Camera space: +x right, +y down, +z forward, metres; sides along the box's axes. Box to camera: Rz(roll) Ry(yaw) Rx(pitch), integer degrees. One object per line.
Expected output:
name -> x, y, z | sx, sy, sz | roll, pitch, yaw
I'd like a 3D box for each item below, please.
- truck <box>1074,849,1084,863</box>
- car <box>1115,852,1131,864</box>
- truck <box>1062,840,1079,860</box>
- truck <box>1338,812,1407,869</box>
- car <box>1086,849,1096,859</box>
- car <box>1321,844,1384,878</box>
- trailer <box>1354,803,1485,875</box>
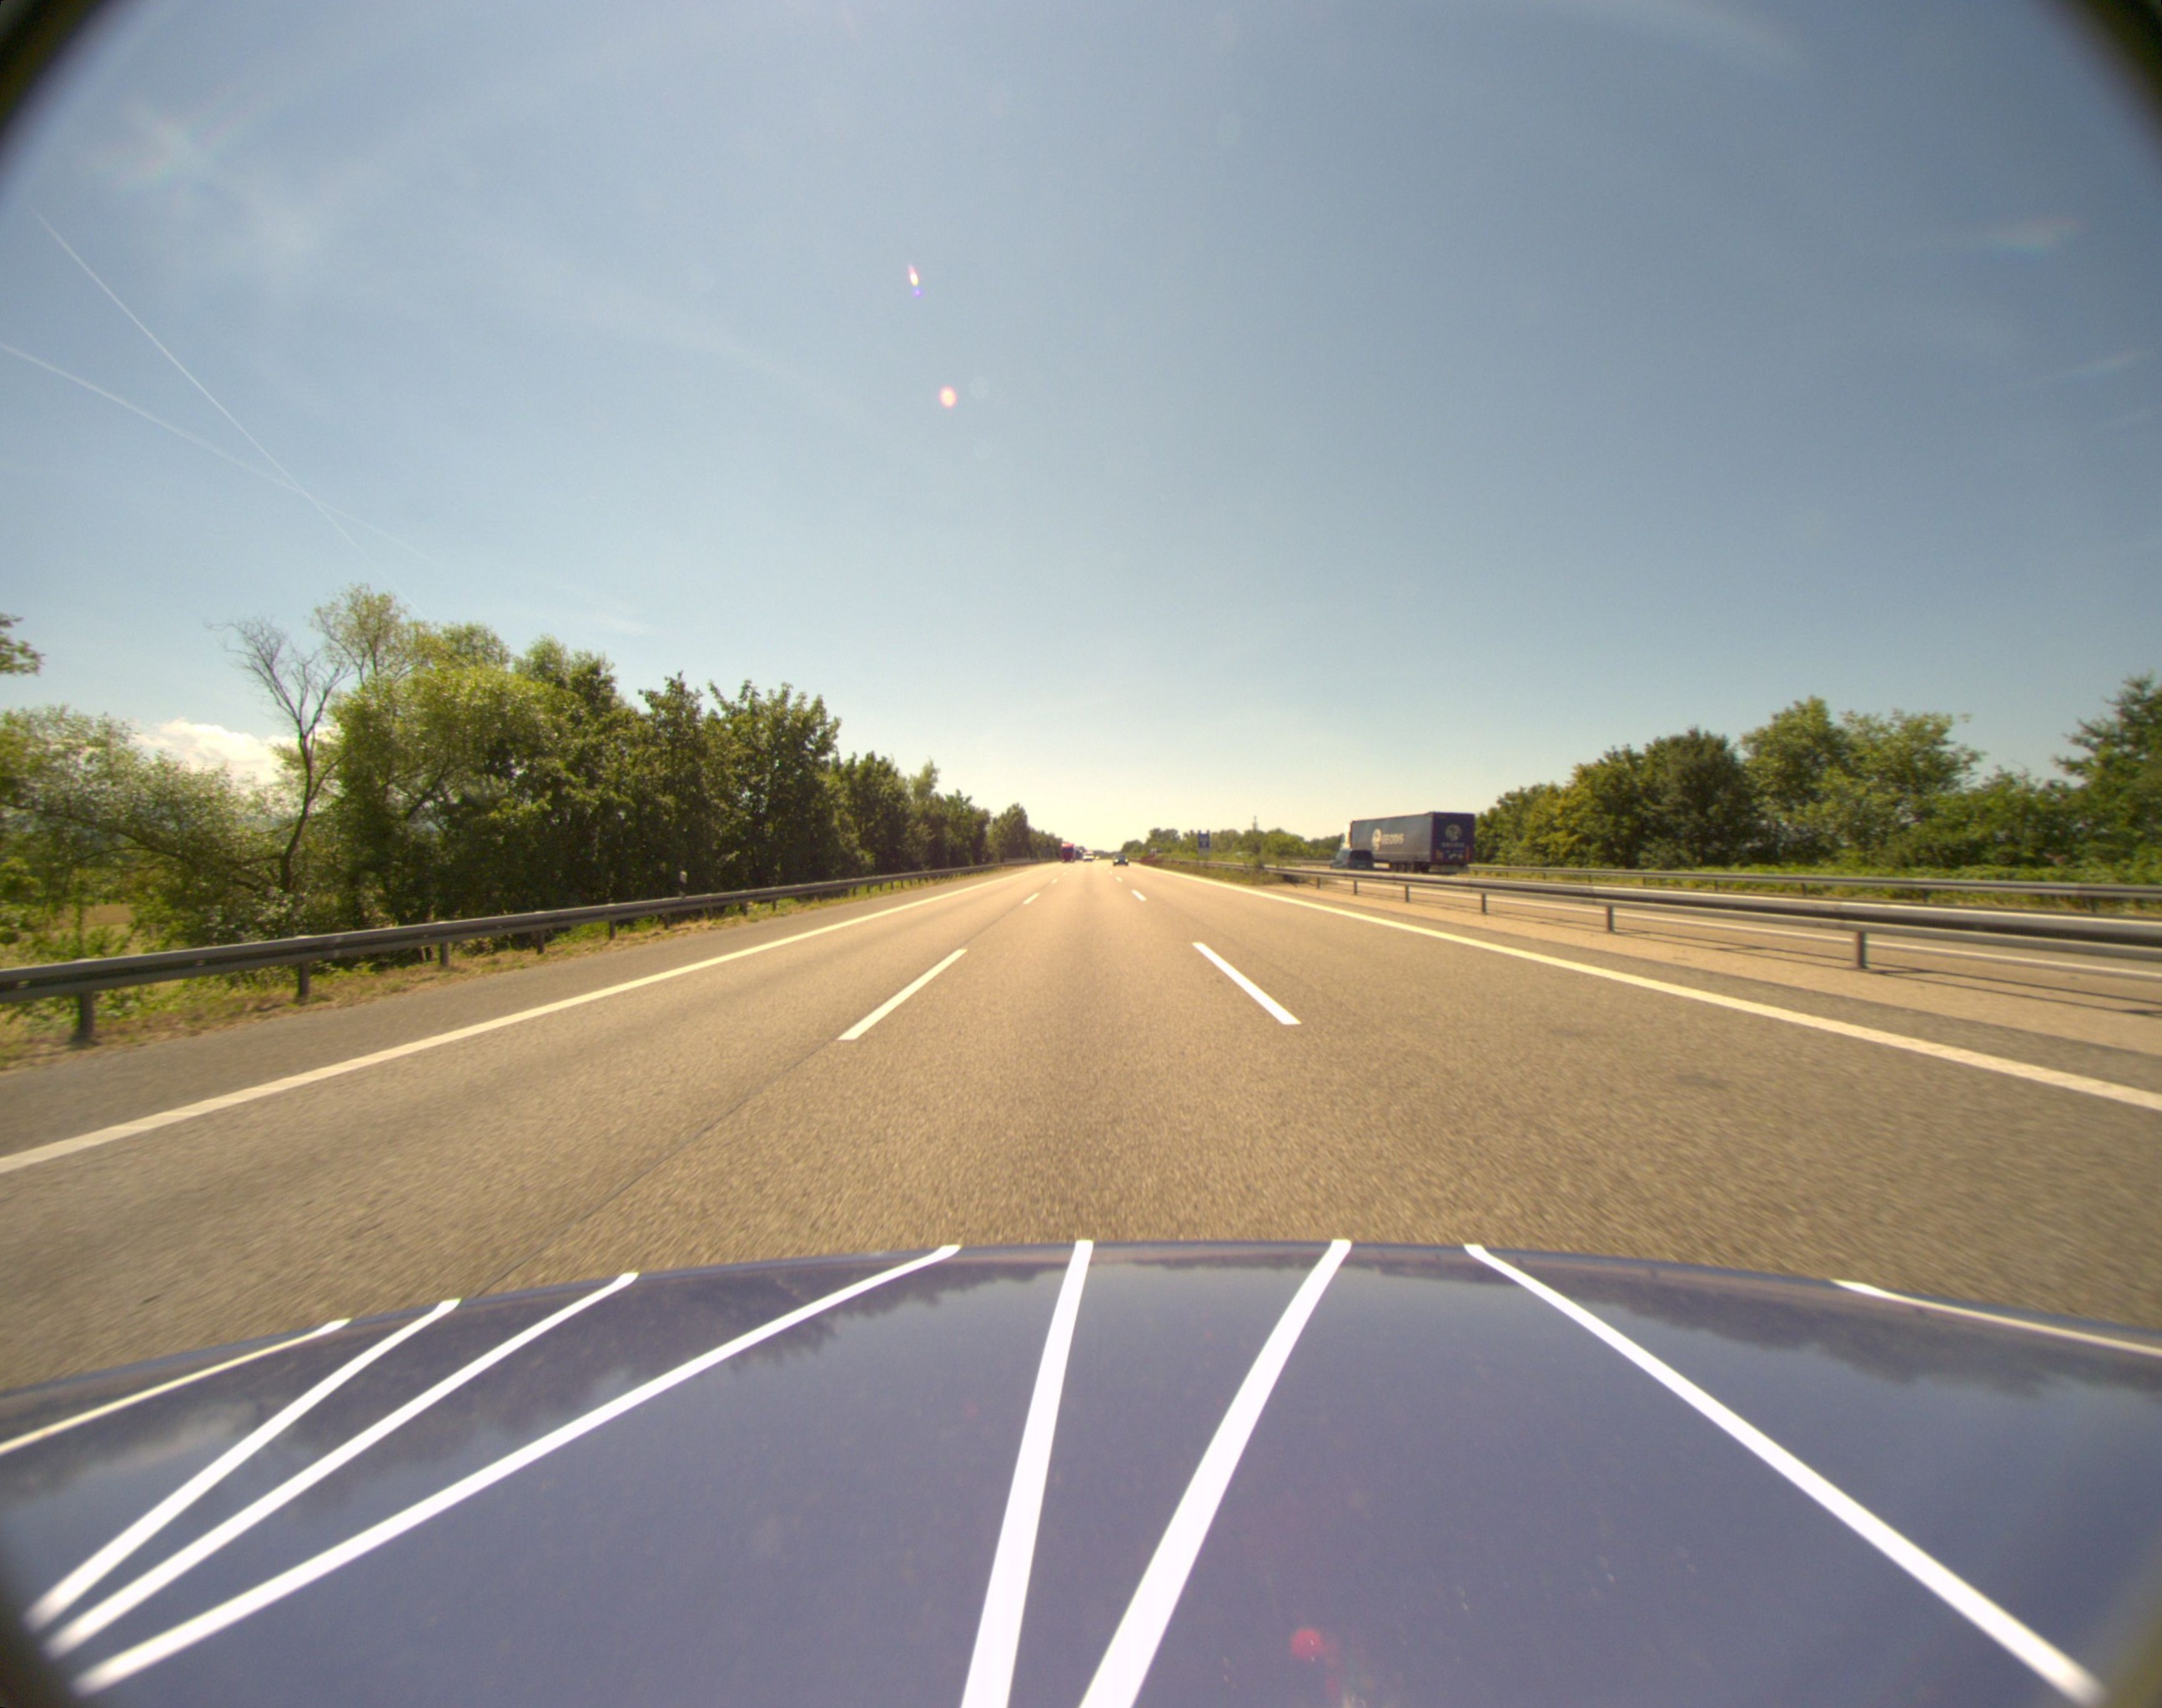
truck -> -0.608, 0.705, 253.990 | 2.938, 4.428, 10.261 | -2, 0, 1
car -> 5.037, 0.475, 91.078 | 1.736, 1.433, 4.000 | -2, 0, 1
truck -> -2.146, -0.873, 159.837 | 2.938, 3.933, 10.261 | -2, 0, 1
truck -> 22.349, -1.037, 58.641 | 2.923, 4.106, 6.193 | 1, 1, 1
car -> 2.073, 0.084, 158.275 | 1.998, 2.002, 4.756 | -2, 0, 1
car -> 17.969, 0.416, 50.607 | 2.234, 1.977, 5.356 | -4, 1, 1
trailer -> 22.263, -0.947, 51.314 | 2.927, 4.162, 13.540 | 1, 1, 1
